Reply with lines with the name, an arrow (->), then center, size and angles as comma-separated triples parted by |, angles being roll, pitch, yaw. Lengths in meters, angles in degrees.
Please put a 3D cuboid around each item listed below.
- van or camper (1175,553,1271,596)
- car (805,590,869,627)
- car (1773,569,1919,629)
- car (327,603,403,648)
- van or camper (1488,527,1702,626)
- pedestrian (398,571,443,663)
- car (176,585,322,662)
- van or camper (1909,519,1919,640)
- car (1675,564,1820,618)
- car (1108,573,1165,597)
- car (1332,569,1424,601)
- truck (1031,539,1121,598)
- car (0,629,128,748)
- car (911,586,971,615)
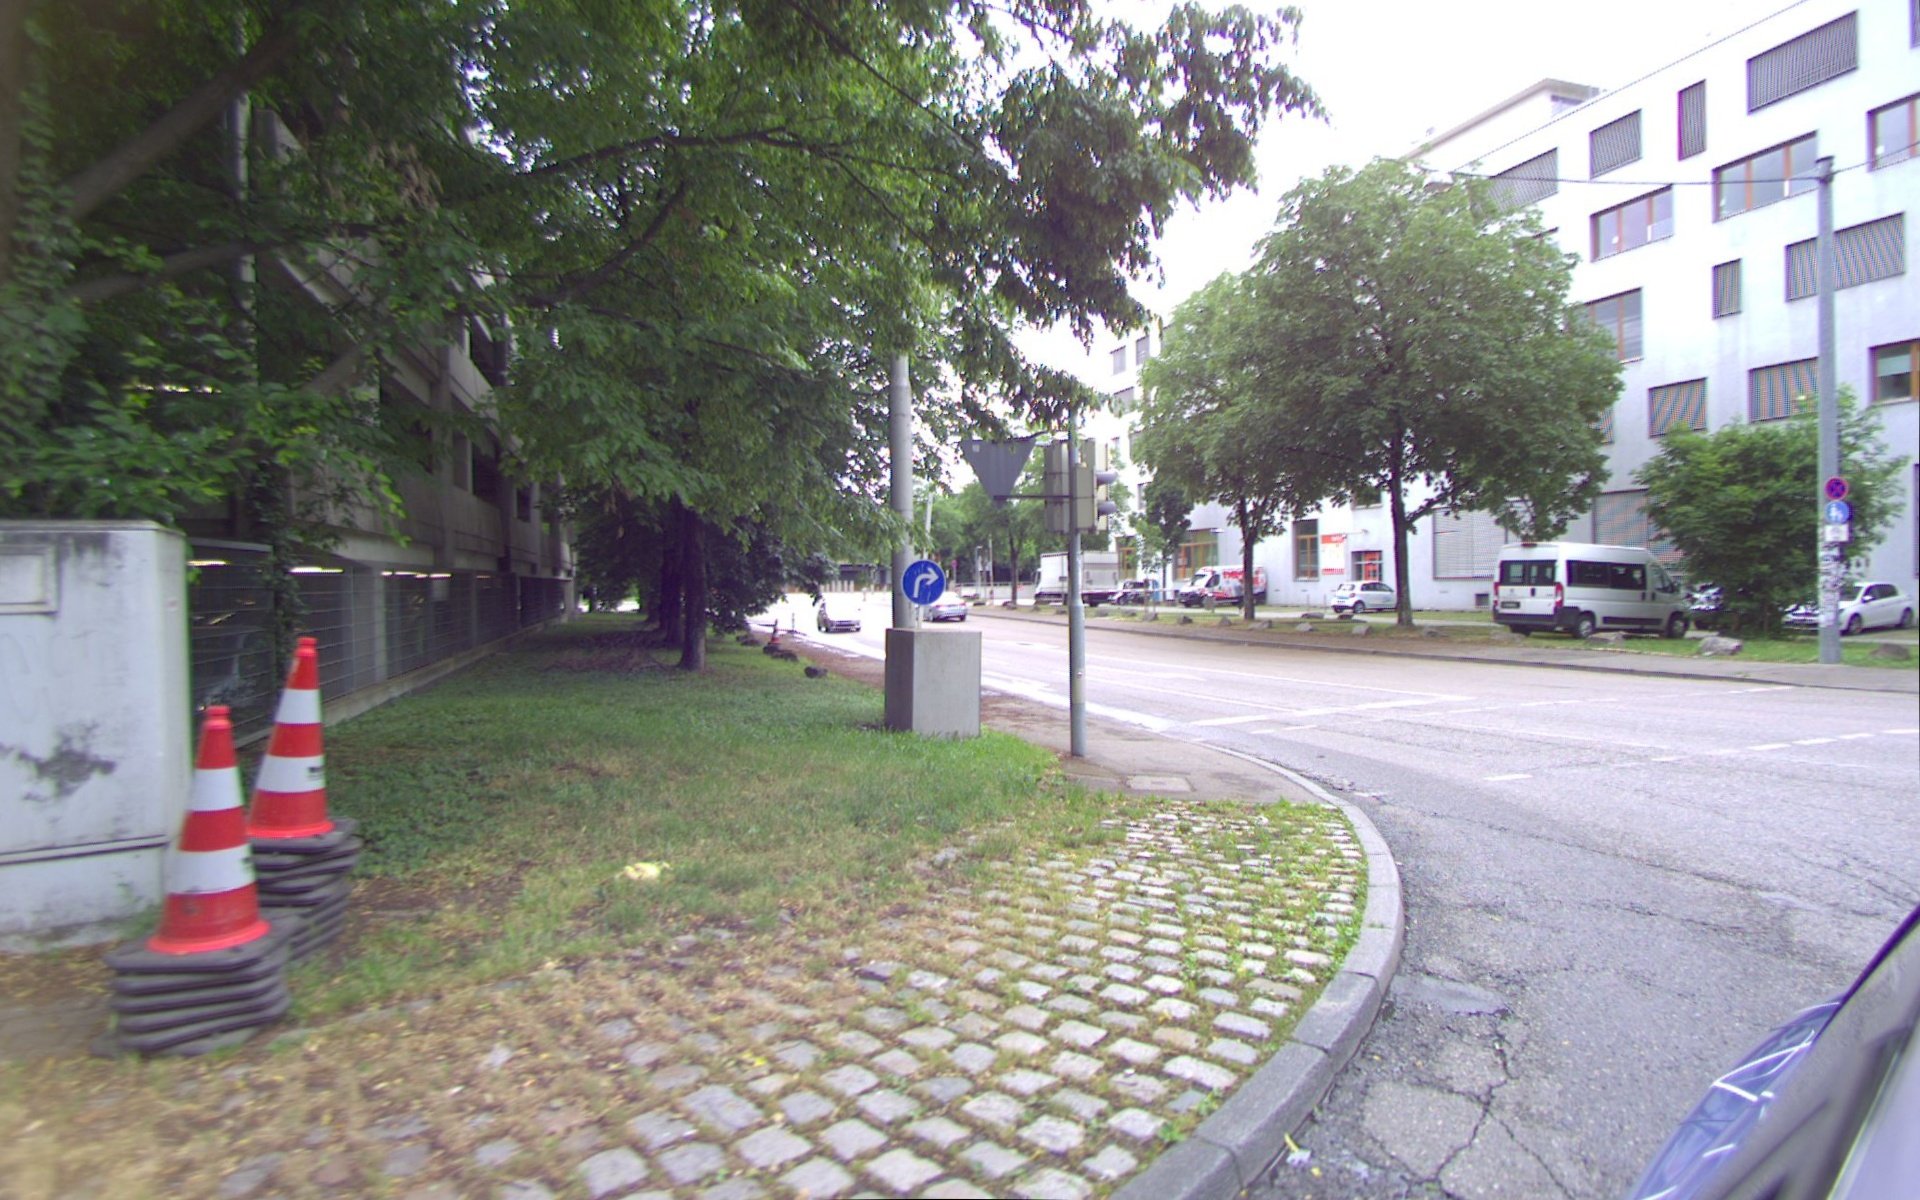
van or camper -> 15.937, -1.552, 61.348 | 5.159, 2.456, 2.262 | -2, 1, -19
car -> -5.726, 0.357, 46.727 | 1.817, 1.497, 4.519 | -2, 2, -22
car -> 26.701, -0.055, 30.248 | 3.992, 1.477, 1.862 | -4, 1, -19
car -> -20.989, 0.862, 35.827 | 1.491, 1.381, 3.784 | -1, 1, -18
van or camper -> 16.849, -0.614, 26.878 | 5.077, 2.454, 2.162 | 0, 0, -20
pedestrian -> -10.434, 0.326, 19.584 | 0.605, 1.721, 0.611 | 3, 0, -19
car -> -18.294, 0.532, 26.266 | 1.958, 1.749, 4.008 | -3, 1, -18
van or camper -> 19.940, -0.325, 17.896 | 5.525, 2.137, 2.174 | 1, 0, -18
car -> 25.524, -0.307, 32.810 | 3.997, 1.548, 1.848 | -3, 1, -20
car -> 12.427, -1.071, 71.319 | 3.624, 1.668, 1.659 | -1, 1, -15
car -> 20.363, -0.729, 49.335 | 3.928, 1.436, 1.718 | -2, 1, -17
truck -> 7.499, -2.034, 66.917 | 2.593, 3.662, 7.856 | 1, 1, -20
car -> -11.178, 0.991, 11.291 | 1.588, 1.176, 3.648 | -1, 0, -16
car -> -1.022, 0.024, 51.473 | 1.667, 1.415, 4.379 | -1, 0, -21
